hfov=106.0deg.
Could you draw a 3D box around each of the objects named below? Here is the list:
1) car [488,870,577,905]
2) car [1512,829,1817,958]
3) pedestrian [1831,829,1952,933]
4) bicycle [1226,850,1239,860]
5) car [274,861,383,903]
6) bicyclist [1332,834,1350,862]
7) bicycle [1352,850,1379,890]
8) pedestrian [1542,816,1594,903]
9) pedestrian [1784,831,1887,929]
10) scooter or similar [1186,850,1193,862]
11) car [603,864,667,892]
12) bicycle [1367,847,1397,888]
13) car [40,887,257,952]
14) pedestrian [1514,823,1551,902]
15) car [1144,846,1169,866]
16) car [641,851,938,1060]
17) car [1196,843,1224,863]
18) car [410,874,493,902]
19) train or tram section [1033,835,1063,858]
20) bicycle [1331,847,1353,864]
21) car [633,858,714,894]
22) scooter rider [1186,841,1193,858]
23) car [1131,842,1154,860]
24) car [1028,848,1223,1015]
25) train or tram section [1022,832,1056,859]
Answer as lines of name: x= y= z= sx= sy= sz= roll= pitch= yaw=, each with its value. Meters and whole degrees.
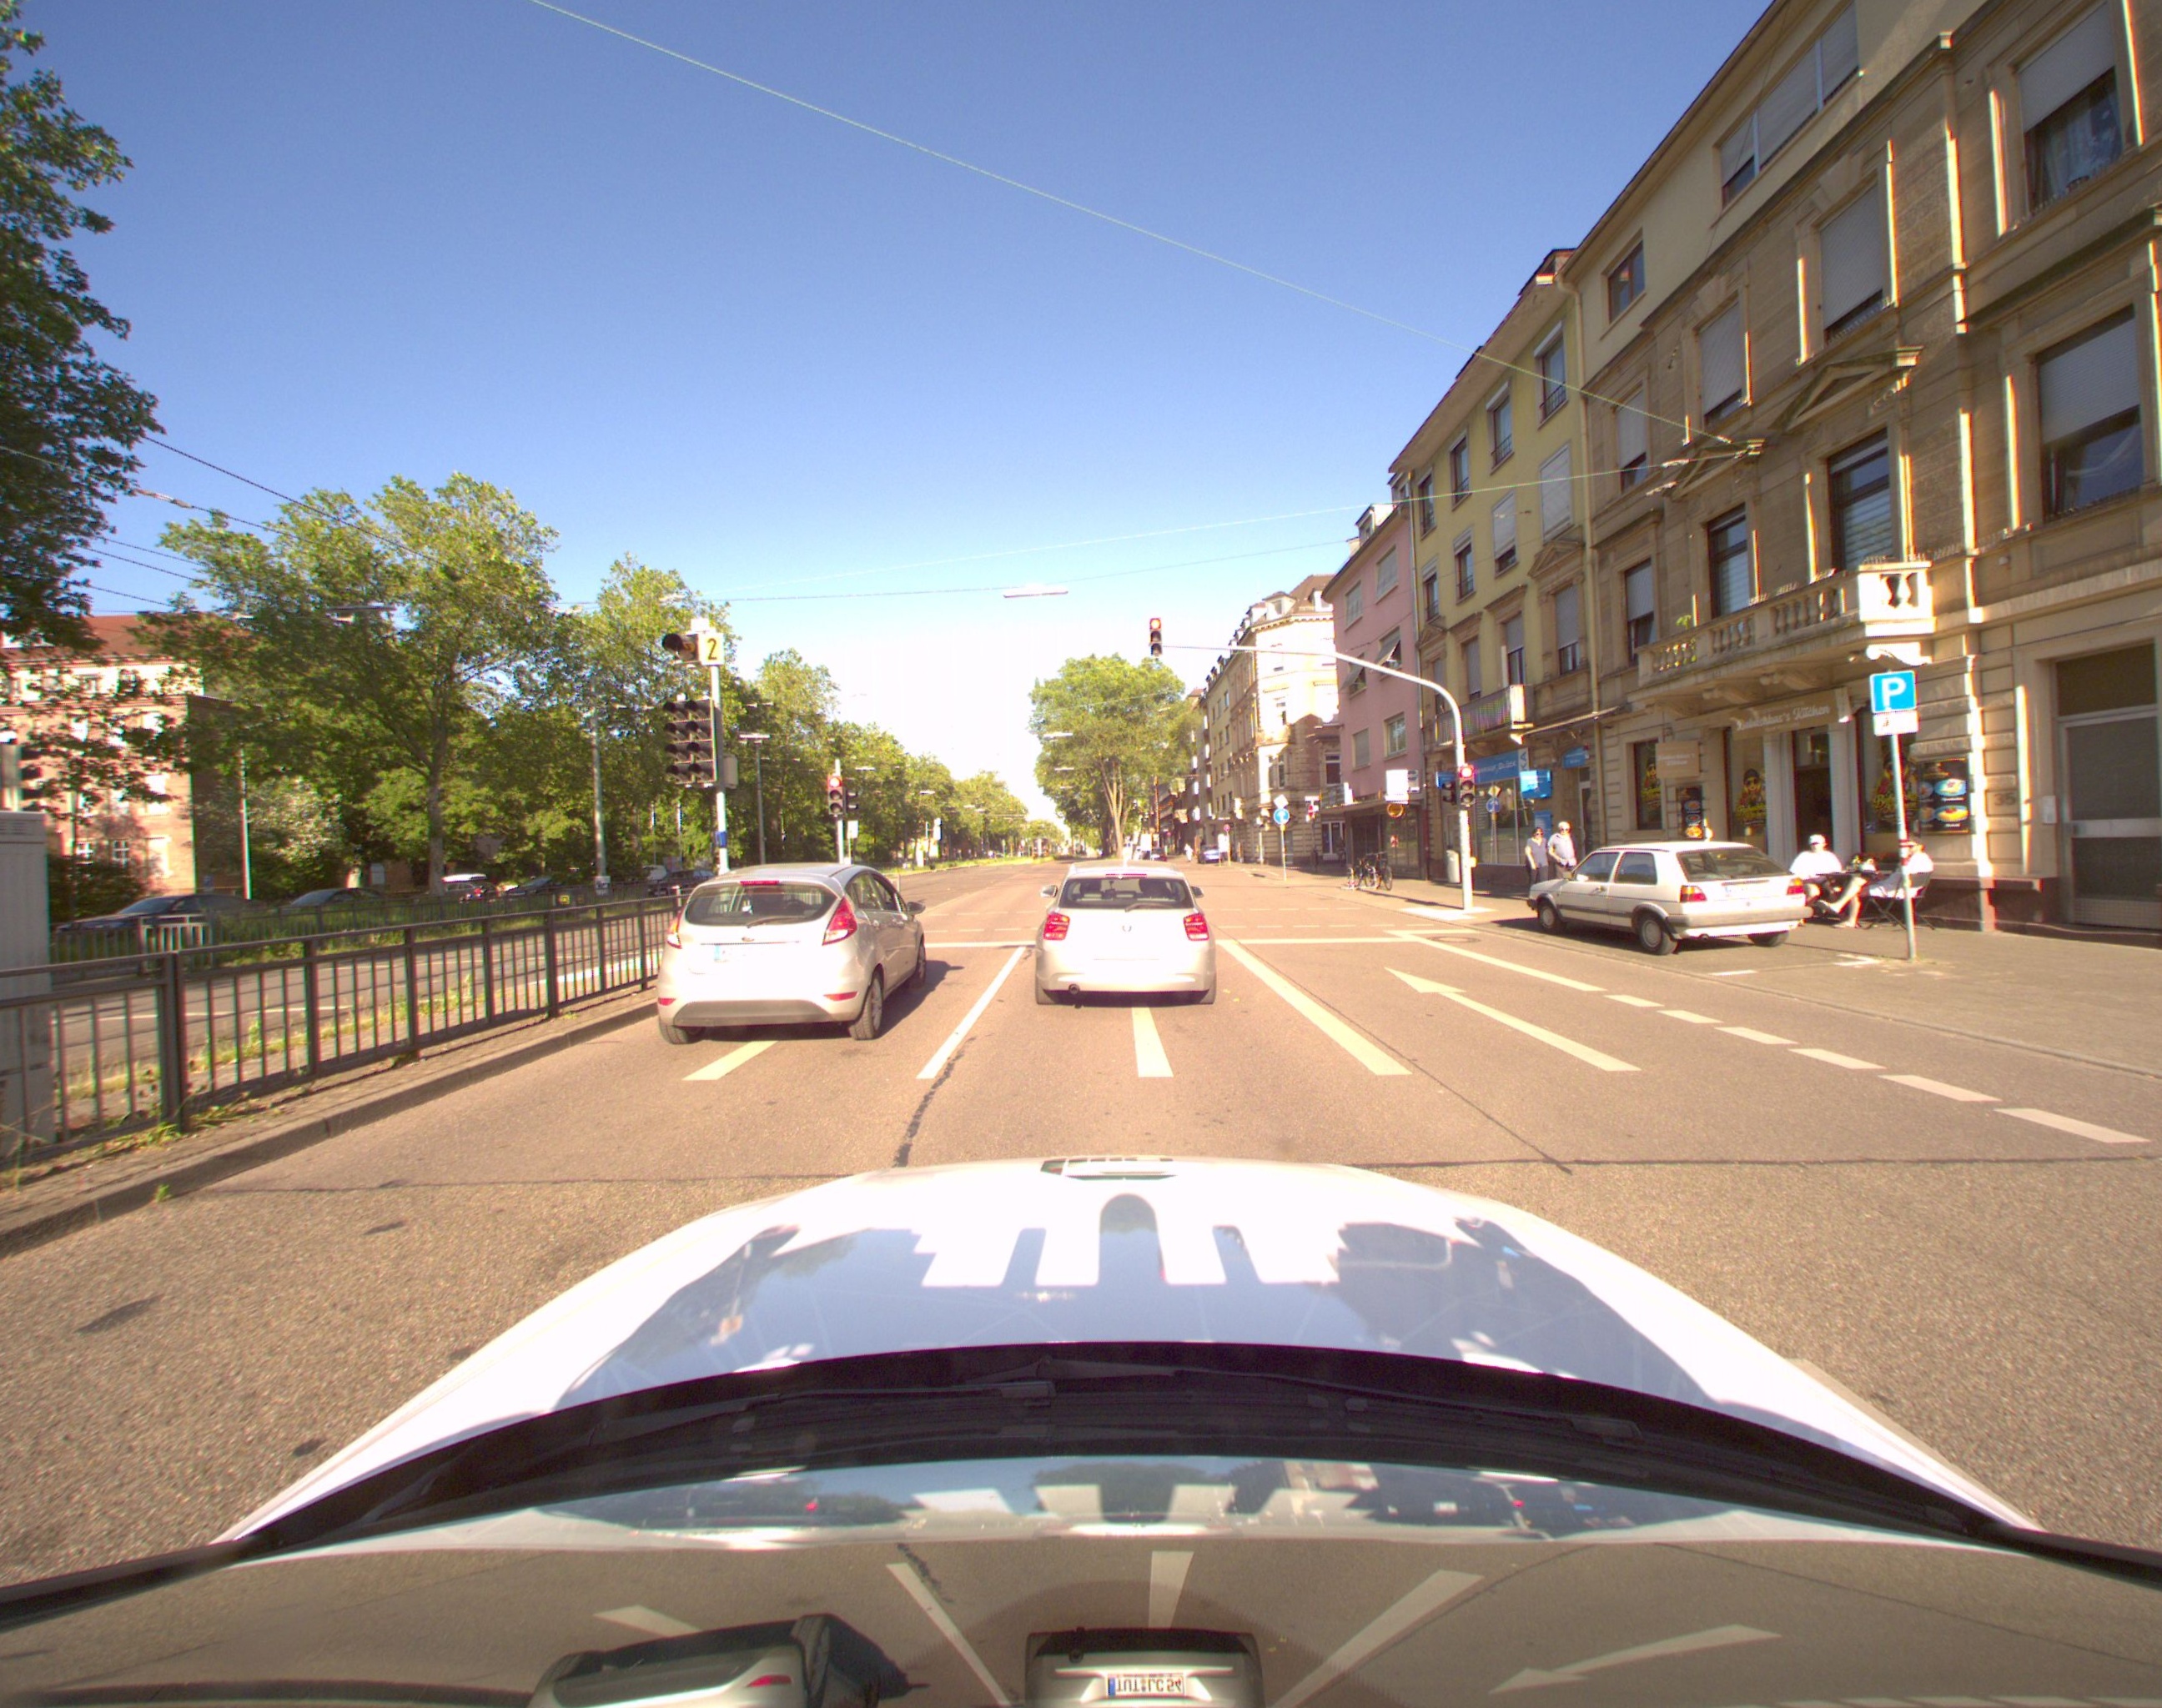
car: x=-27.972 y=1.676 z=41.696 sx=1.664 sy=1.509 sz=4.145 roll=-2 pitch=0 yaw=0
car: x=8.104 y=0.458 z=11.837 sx=1.557 sy=1.415 sz=4.006 roll=-5 pitch=0 yaw=2
pedestrian: x=10.800 y=0.348 z=10.870 sx=0.899 sy=1.281 sz=0.655 roll=-4 pitch=0 yaw=-4
bicycle: x=12.249 y=0.063 z=65.860 sx=0.752 sy=0.770 sz=1.945 roll=-2 pitch=0 yaw=0
car: x=-40.325 y=1.454 z=43.793 sx=1.986 sy=2.013 sz=4.002 roll=-2 pitch=1 yaw=2
bicyclist: x=14.441 y=-0.331 z=45.235 sx=0.541 sy=1.502 sz=0.967 roll=-2 pitch=0 yaw=43
bicycle: x=8.713 y=0.472 z=24.976 sx=0.411 sy=1.140 sz=1.814 roll=-1 pitch=1 yaw=8
pedestrian: x=10.588 y=0.122 z=17.715 sx=0.670 sy=1.806 sz=0.531 roll=-5 pitch=0 yaw=1
pedestrian: x=10.670 y=0.357 z=11.537 sx=0.795 sy=1.281 sz=0.608 roll=-6 pitch=0 yaw=-1
scooter or similar: x=9.727 y=0.179 z=73.064 sx=0.334 sy=0.988 sz=1.291 roll=-2 pitch=1 yaw=20
car: x=-27.698 y=1.441 z=50.727 sx=1.664 sy=1.509 sz=4.145 roll=-2 pitch=0 yaw=0
bicycle: x=9.208 y=0.395 z=24.960 sx=0.446 sy=1.159 sz=1.762 roll=-2 pitch=1 yaw=8
car: x=-27.787 y=1.880 z=24.515 sx=1.664 sy=1.509 sz=4.145 roll=-2 pitch=1 yaw=0
pedestrian: x=9.957 y=0.179 z=17.983 sx=0.547 sy=1.708 sz=0.389 roll=-2 pitch=0 yaw=4
car: x=5.538 y=0.138 z=59.895 sx=1.728 sy=1.433 sz=3.682 roll=-1 pitch=0 yaw=4
car: x=-2.500 y=0.737 z=7.993 sx=1.605 sy=1.467 sz=3.886 roll=-2 pitch=1 yaw=-3
car: x=10.402 y=-0.104 z=65.619 sx=1.729 sy=1.519 sz=3.637 roll=-1 pitch=0 yaw=1
car: x=-37.895 y=2.020 z=49.042 sx=3.968 sy=1.494 sz=1.396 roll=-2 pitch=0 yaw=5
train or tram section: x=-5.938 y=-1.330 z=149.508 sx=3.990 sy=3.865 sz=17.497 roll=-2 pitch=1 yaw=2
bicycle: x=14.495 y=0.087 z=45.263 sx=0.646 sy=0.903 sz=1.346 roll=-1 pitch=1 yaw=43
car: x=-19.371 y=0.985 z=38.905 sx=1.679 sy=1.498 sz=4.341 roll=-2 pitch=1 yaw=-1
scooter rider: x=9.695 y=-0.446 z=72.975 sx=0.462 sy=1.505 sz=0.814 roll=-2 pitch=0 yaw=14
car: x=5.311 y=-0.244 z=70.935 sx=1.719 sy=1.507 sz=3.555 roll=-1 pitch=0 yaw=0
car: x=0.458 y=0.681 z=9.299 sx=1.733 sy=1.467 sz=4.002 roll=0 pitch=1 yaw=2
train or tram section: x=-6.622 y=-1.382 z=132.089 sx=3.954 sy=3.865 sz=17.497 roll=-2 pitch=1 yaw=2
